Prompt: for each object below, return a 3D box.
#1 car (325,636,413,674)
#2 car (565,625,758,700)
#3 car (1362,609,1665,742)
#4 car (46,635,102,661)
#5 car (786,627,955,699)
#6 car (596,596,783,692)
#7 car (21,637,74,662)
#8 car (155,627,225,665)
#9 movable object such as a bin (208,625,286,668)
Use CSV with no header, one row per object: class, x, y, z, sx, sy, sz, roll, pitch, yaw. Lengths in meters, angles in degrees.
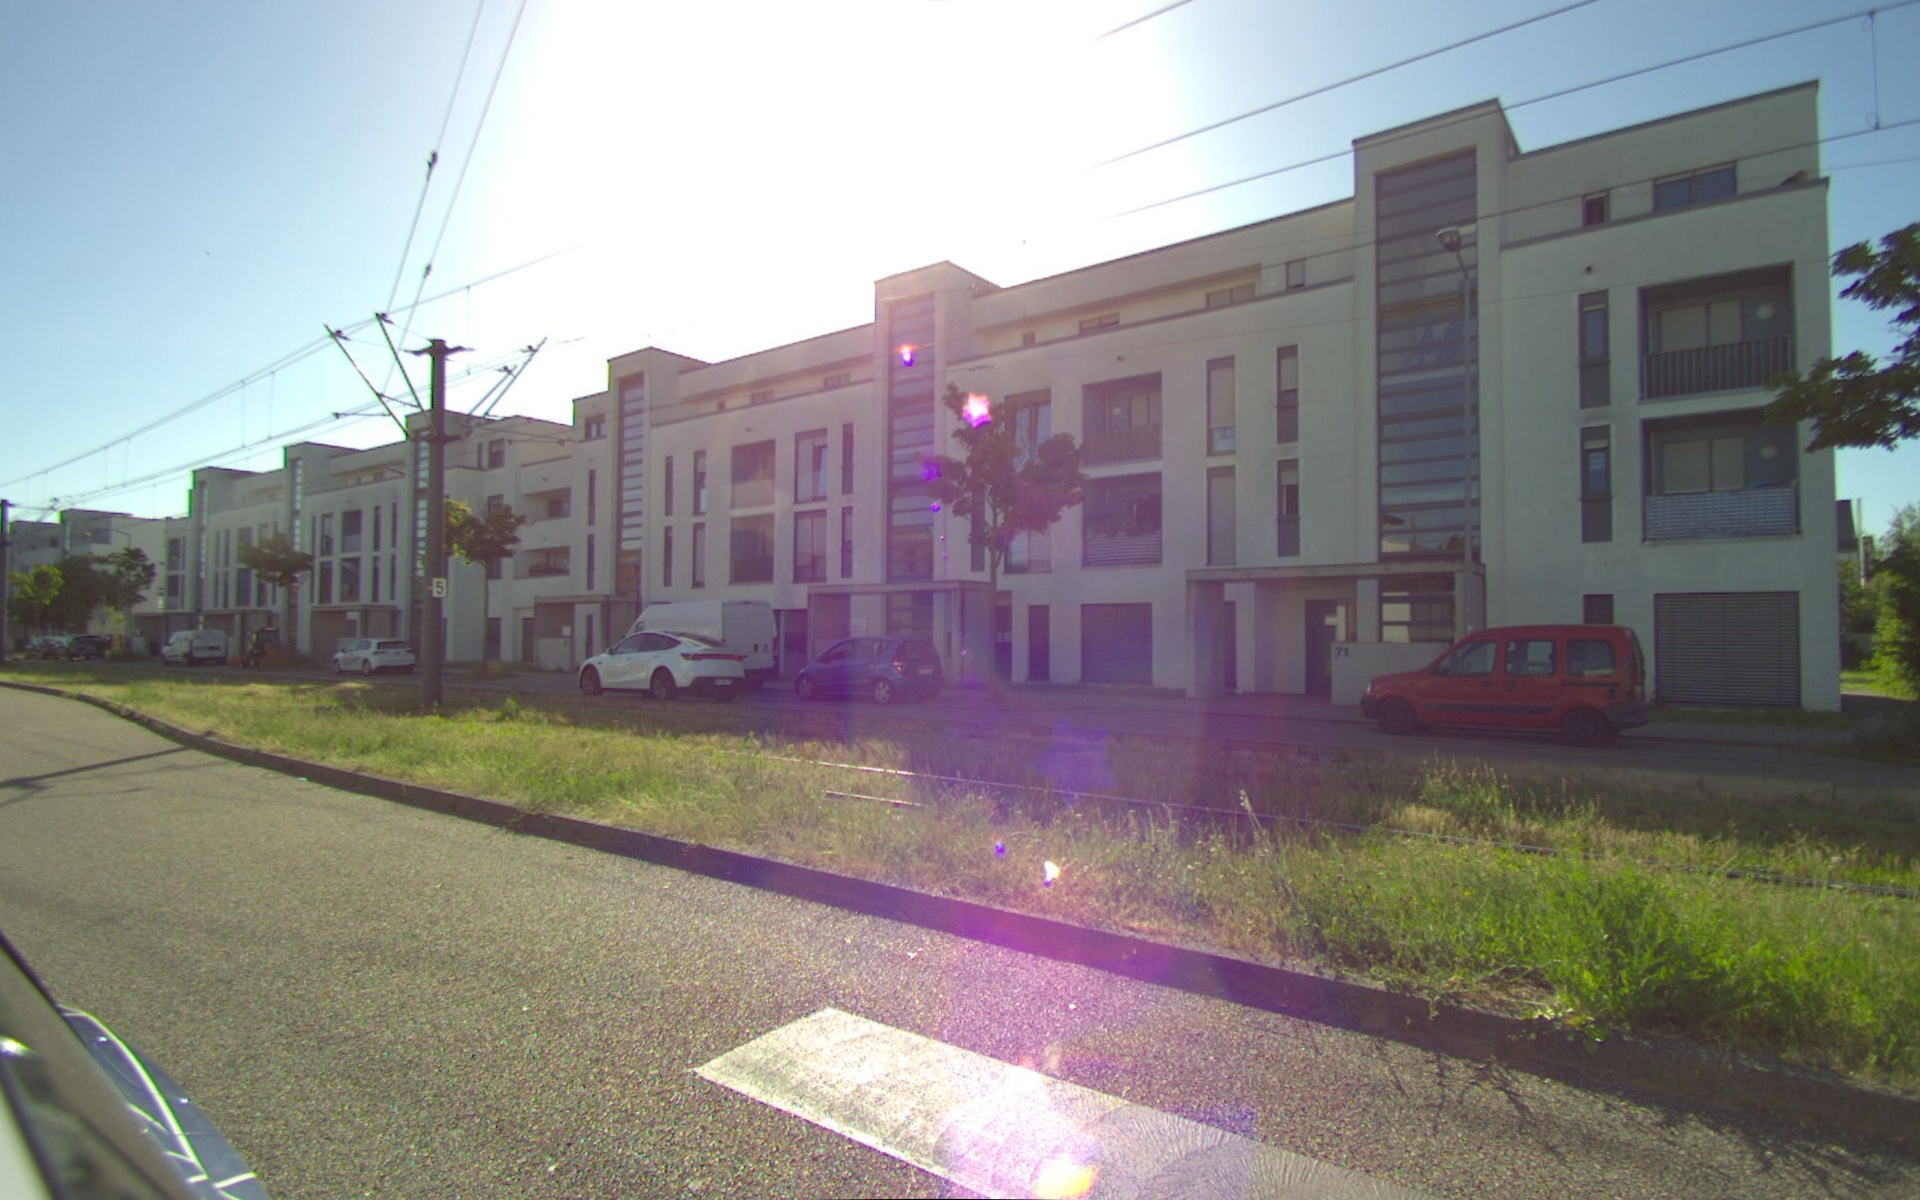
car,-23.876,2.210,40.853,4.147,1.443,1.504,-2,-2,35
car,-7.115,1.466,23.919,4.639,1.608,1.975,-2,-5,37
car,8.537,1.089,15.762,3.834,1.809,1.862,-2,-2,40
car,-56.362,3.045,64.368,4.147,1.611,1.746,-2,-2,35
car,-2.183,1.461,24.150,3.838,1.548,1.806,-2,-2,39
car,-7.672,1.208,28.403,5.581,2.463,2.120,-2,-2,37
car,-60.966,3.283,67.612,4.147,1.611,1.746,-2,-2,35
car,-40.313,2.408,52.970,4.147,1.884,1.746,-2,-2,35
movable object such as a bin,-34.010,2.200,48.262,4.147,1.952,1.746,-2,-2,35
